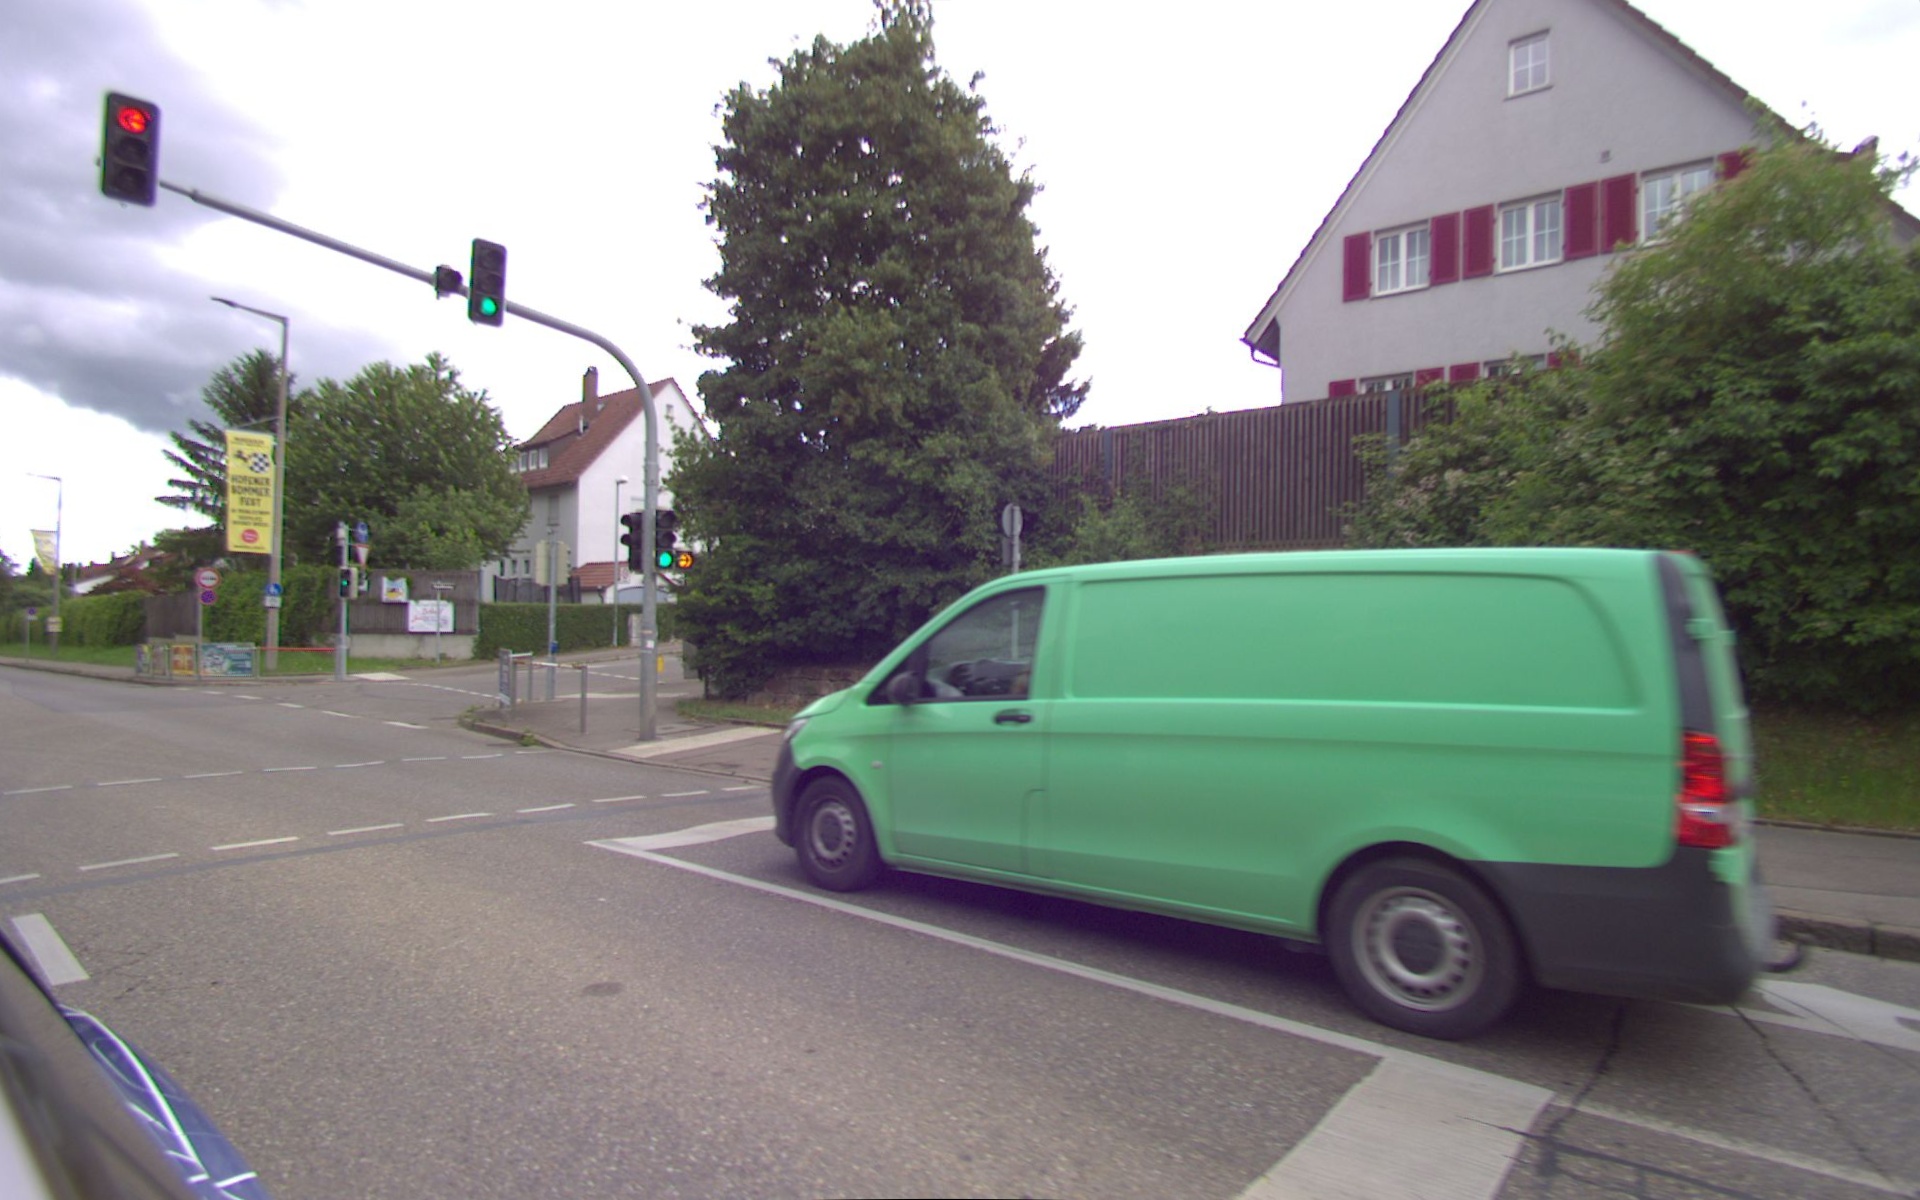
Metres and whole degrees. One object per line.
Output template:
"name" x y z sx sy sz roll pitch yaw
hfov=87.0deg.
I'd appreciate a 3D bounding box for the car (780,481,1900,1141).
"car" 1.425 0.687 5.137 4.725 1.824 2.037 -2 -4 40
